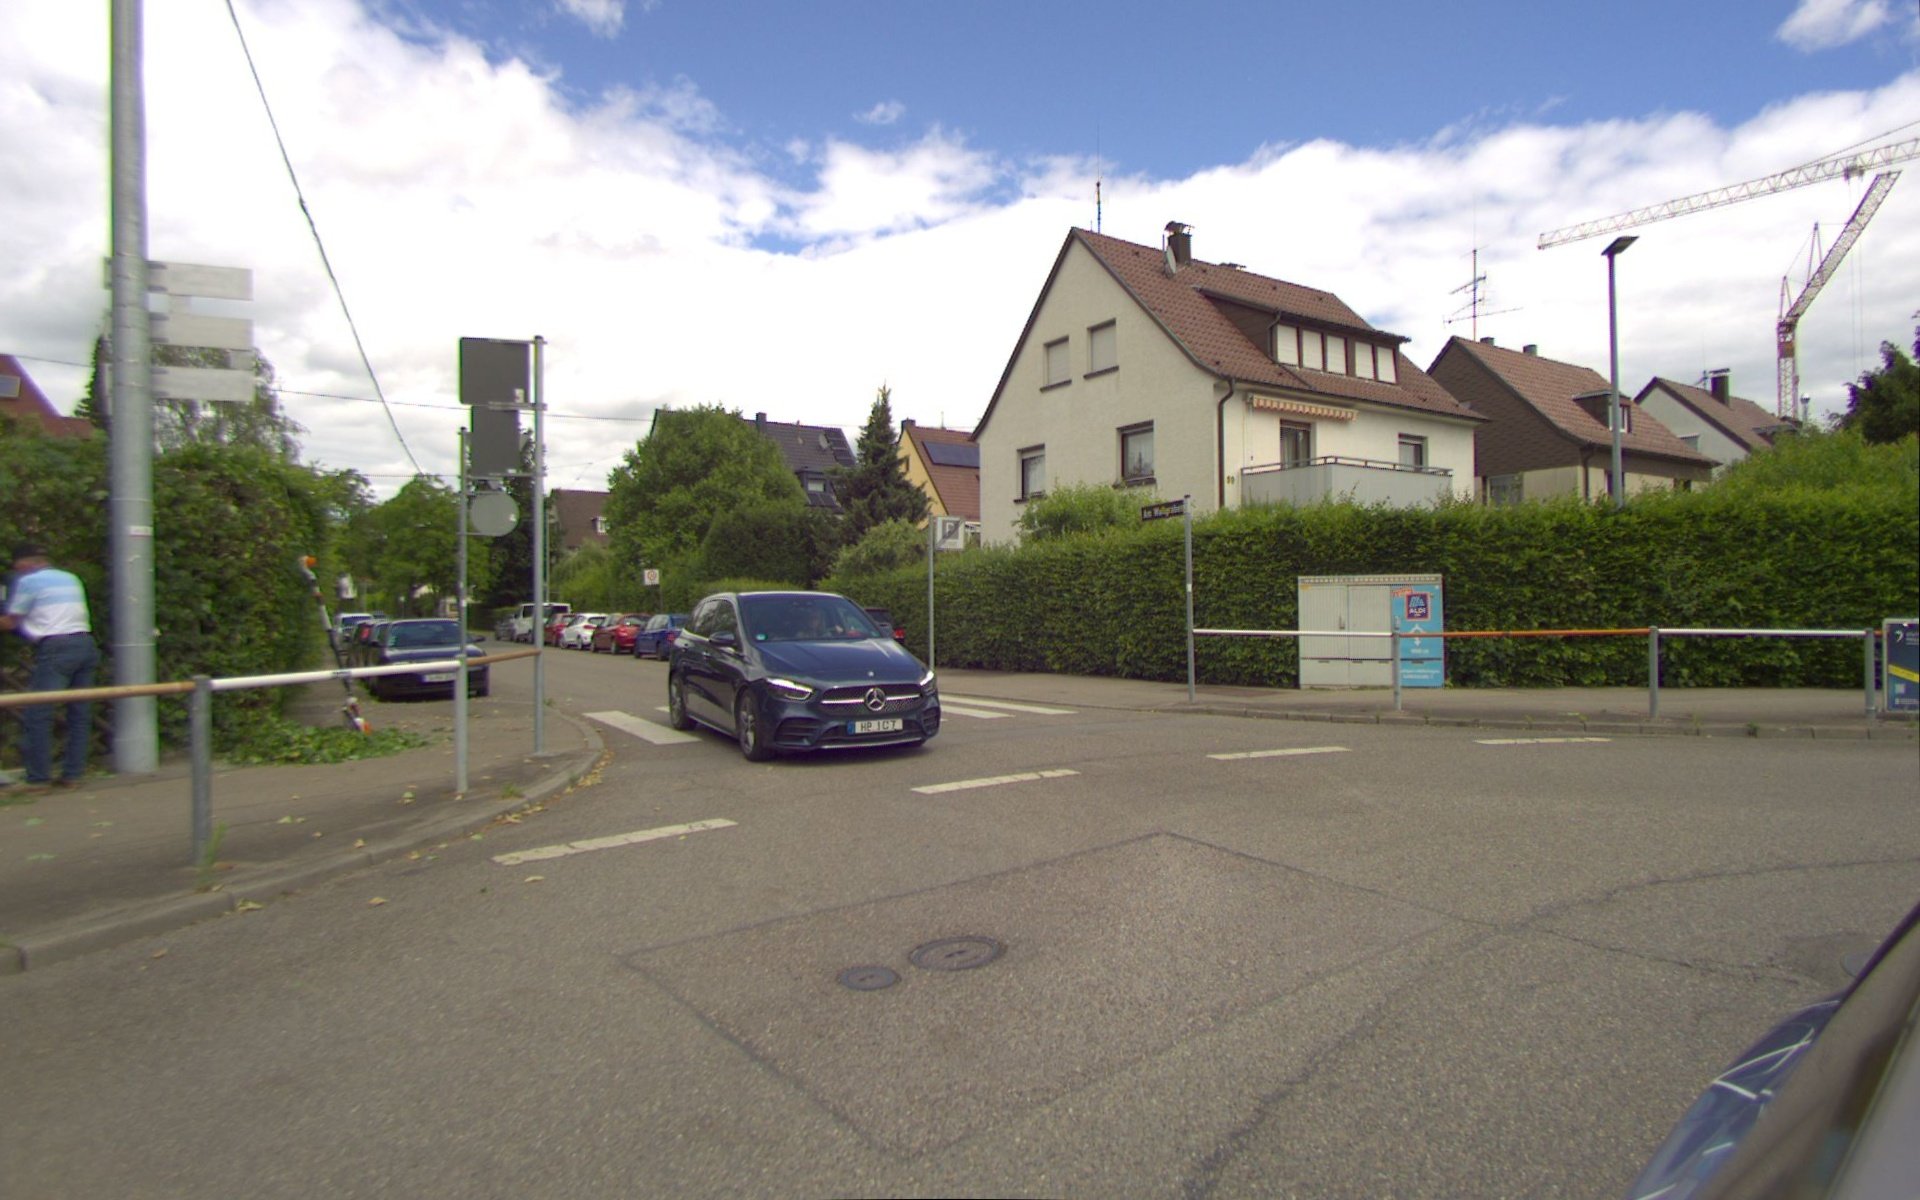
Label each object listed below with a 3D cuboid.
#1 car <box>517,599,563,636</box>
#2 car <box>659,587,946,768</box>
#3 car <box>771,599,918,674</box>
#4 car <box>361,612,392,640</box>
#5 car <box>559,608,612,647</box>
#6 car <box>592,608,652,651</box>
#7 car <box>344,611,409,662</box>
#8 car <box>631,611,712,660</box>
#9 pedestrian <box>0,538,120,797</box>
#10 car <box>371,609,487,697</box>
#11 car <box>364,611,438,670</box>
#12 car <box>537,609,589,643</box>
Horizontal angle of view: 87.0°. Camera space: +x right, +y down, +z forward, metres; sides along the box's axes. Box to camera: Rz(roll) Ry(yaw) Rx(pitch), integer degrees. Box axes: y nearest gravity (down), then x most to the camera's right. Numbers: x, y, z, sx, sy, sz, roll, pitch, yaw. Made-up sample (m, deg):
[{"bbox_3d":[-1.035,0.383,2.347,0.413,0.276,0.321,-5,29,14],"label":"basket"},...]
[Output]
[{"bbox_3d":[-20.405,0.835,49.133,1.513,1.707,3.431,0,0,-32],"label":"car"},{"bbox_3d":[-1.847,0.634,10.491,1.551,1.467,4.325,0,0,-29],"label":"car"},{"bbox_3d":[-2.574,0.776,21.899,1.676,1.473,3.616,0,-2,-34],"label":"car"},{"bbox_3d":[-36.532,1.609,63.335,1.521,1.502,3.567,-4,2,-32],"label":"car"},{"bbox_3d":[-15.054,1.072,40.608,1.308,1.437,3.338,0,0,-32],"label":"car"},{"bbox_3d":[-12.234,1.031,36.554,1.308,1.437,3.213,0,0,-32],"label":"car"},{"bbox_3d":[-18.571,1.097,32.139,1.570,1.355,3.916,-4,2,-32],"label":"car"},{"bbox_3d":[-9.099,1.074,31.804,1.539,1.384,3.441,0,0,-32],"label":"car"},{"bbox_3d":[-6.327,0.439,6.942,0.584,1.677,0.652,0,0,9],"label":"pedestrian"},{"bbox_3d":[-9.466,0.888,17.921,1.521,1.365,3.786,0,-2,-32],"label":"car"},{"bbox_3d":[-15.220,1.039,27.472,1.521,1.421,3.857,0,0,-32],"label":"car"},{"bbox_3d":[-17.701,1.137,45.038,1.513,1.407,3.431,0,0,-32],"label":"car"}]
